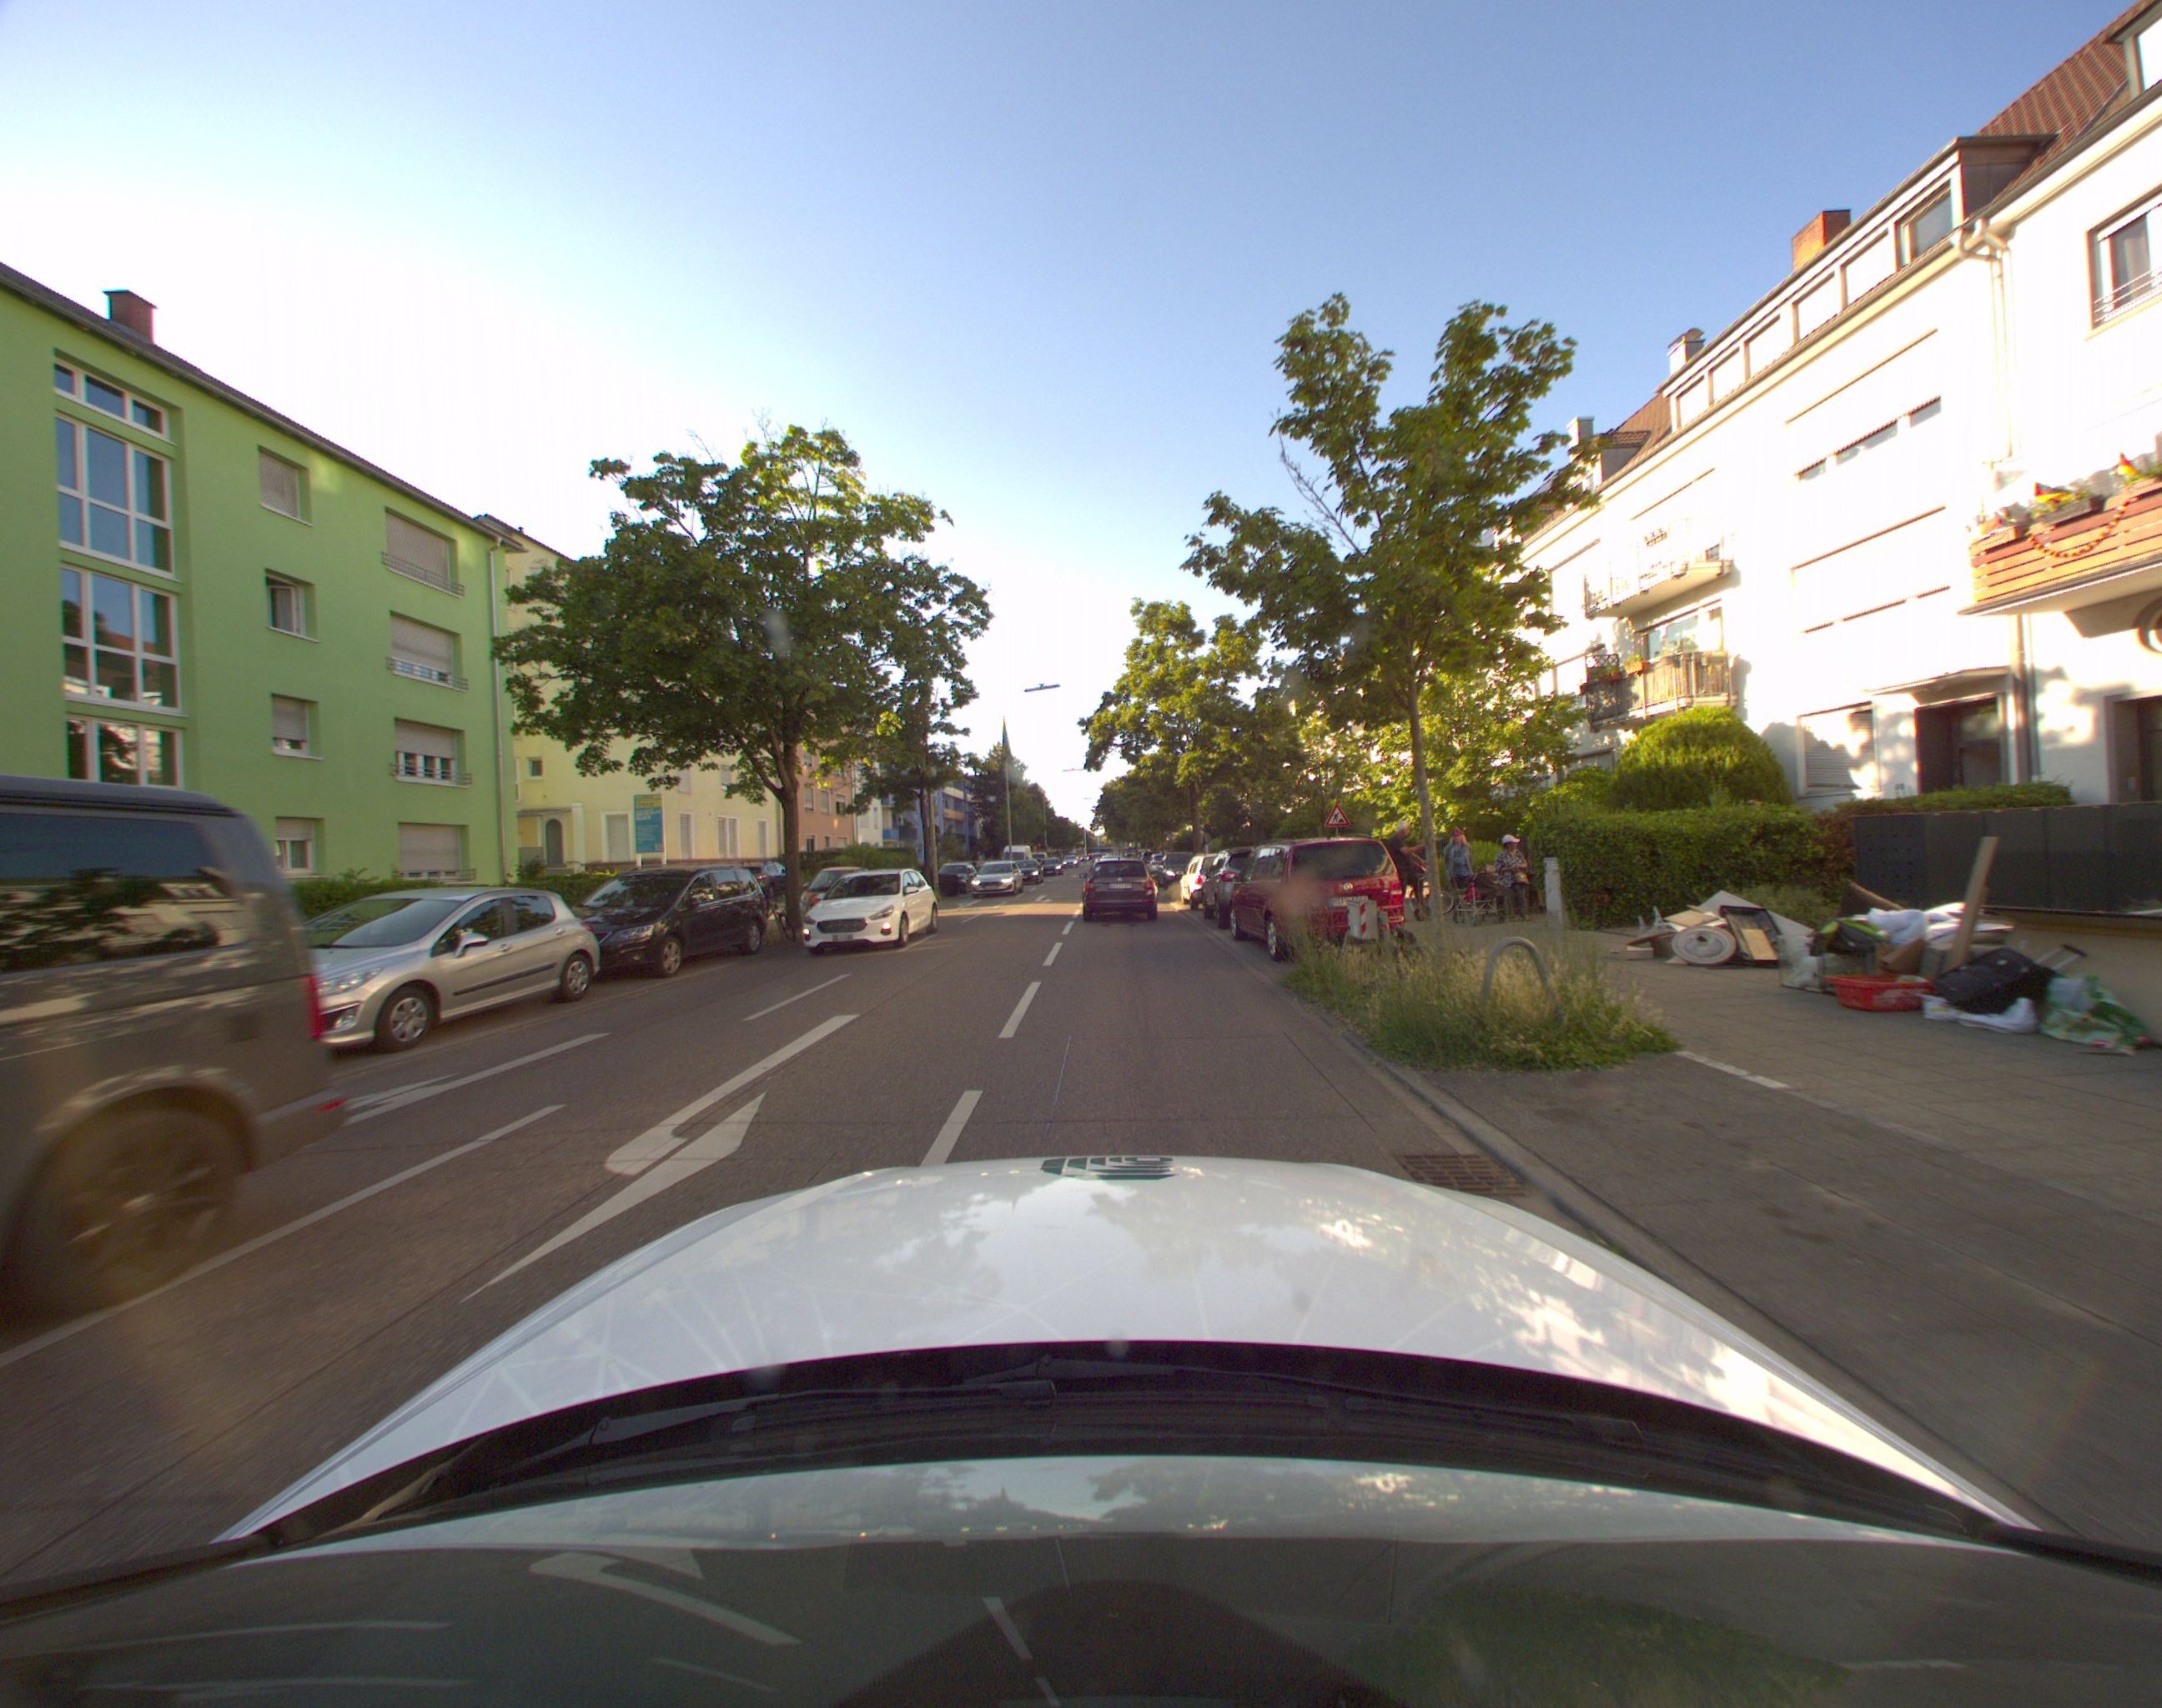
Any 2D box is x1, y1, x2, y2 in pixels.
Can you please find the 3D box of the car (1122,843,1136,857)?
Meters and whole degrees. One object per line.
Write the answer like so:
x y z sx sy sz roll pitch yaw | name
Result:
6.938 -0.544 118.525 1.908 1.860 5.638 -2 0 3 | car

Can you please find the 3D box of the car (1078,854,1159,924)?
0.948 0.762 19.856 1.747 1.492 4.004 -1 0 3 | car

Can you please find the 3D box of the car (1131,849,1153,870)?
5.217 0.474 69.980 1.747 1.662 4.256 -4 0 3 | car

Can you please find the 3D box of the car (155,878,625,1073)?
-7.229 1.122 9.232 1.677 1.521 4.191 -2 0 0 | car

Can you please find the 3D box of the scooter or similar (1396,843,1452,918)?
6.302 0.476 15.004 0.742 1.317 0.722 -2 0 8 | scooter or similar

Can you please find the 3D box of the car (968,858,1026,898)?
-3.601 0.987 35.510 1.825 1.470 4.453 -5 0 1 | car

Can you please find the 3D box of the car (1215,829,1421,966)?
3.367 0.547 12.556 1.717 1.655 4.595 -2 0 -1 | car

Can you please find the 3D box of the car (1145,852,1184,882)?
4.580 0.684 45.199 1.712 1.494 4.394 -3 0 1 | car

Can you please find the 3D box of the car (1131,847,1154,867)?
5.942 0.298 79.155 1.794 1.808 4.423 -1 0 0 | car

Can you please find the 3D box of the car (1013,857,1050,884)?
-2.862 0.936 47.704 1.694 1.403 4.029 -4 0 1 | car

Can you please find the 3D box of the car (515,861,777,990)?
-7.105 1.045 13.978 1.777 1.732 4.620 -3 0 2 | car

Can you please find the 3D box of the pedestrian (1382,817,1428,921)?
5.972 0.275 15.046 0.545 1.849 0.766 -3 0 8 | pedestrian

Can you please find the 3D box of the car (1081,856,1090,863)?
0.996 1.193 179.859 1.774 1.494 3.973 -3 0 2 | car

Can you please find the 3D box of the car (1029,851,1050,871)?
-4.493 0.717 89.108 1.862 2.031 5.302 -2 0 1 | car

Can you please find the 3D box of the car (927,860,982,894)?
-6.112 1.075 39.865 1.772 1.505 4.590 -2 0 2 | car

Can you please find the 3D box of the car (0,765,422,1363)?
-4.571 0.750 1.873 1.986 1.946 4.779 -5 0 2 | car

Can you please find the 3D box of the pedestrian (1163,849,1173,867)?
8.898 0.390 83.298 0.794 1.721 0.746 -3 0 10 | pedestrian

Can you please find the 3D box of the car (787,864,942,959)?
-4.097 1.025 16.130 1.810 1.446 4.110 -5 0 0 | car

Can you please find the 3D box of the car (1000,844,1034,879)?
-5.135 0.560 65.954 1.986 2.616 7.107 -1 0 1 | car

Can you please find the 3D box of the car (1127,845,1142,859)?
6.718 -0.228 102.142 1.747 1.686 4.256 -1 0 3 | car

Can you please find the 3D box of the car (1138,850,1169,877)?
4.635 0.559 52.633 1.712 1.601 4.097 -3 0 1 | car

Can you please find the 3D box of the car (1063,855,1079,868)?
-1.254 0.901 100.813 1.874 1.543 4.265 -3 0 -1 | car

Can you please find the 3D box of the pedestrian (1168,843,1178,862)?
9.190 -0.180 81.678 0.793 1.861 0.954 -3 0 12 | pedestrian

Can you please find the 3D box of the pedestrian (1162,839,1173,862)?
6.744 -0.256 63.161 0.784 1.700 0.809 -2 -1 6 | pedestrian

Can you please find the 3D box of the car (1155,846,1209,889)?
4.263 0.537 34.976 1.866 1.581 4.825 -4 0 3 | car

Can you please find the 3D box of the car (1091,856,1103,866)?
2.662 1.162 133.088 1.776 1.480 3.969 -1 0 -1 | car

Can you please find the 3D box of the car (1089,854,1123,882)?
1.445 0.804 47.211 1.885 1.506 3.790 1 -1 1 | car

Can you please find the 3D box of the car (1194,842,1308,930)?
3.487 0.598 17.367 1.630 1.568 4.002 -4 0 2 | car

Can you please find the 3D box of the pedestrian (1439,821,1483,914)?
7.127 0.249 15.297 0.509 1.697 0.526 -2 0 -3 | pedestrian

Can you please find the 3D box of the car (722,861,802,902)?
-14.068 1.167 36.175 1.821 1.683 4.001 -2 -1 1 | car

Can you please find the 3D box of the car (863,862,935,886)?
-11.249 1.204 50.432 3.972 1.413 1.917 0 0 2 | car

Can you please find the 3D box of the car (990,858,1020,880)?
-5.503 1.060 59.655 1.700 1.492 4.060 0 0 2 | car

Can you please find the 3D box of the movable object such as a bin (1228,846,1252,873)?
9.499 0.297 48.636 1.259 1.492 1.143 -5 0 11 | movable object such as a bin

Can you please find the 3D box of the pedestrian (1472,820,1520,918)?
7.420 0.260 14.582 0.509 1.697 0.526 -2 0 -3 | pedestrian

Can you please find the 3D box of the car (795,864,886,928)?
-6.756 1.148 23.143 1.492 1.616 2.865 -2 0 5 | car

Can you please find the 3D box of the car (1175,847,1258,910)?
3.702 0.623 22.905 1.631 1.490 4.417 -4 0 1 | car

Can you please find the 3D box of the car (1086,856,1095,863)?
2.527 1.325 213.811 1.989 1.750 3.995 -3 0 -4 | car

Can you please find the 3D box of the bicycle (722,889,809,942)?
-6.897 1.339 17.859 1.668 1.089 0.561 -1 0 3 | bicycle

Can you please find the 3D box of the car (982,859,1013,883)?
-5.589 1.128 55.015 1.606 1.473 3.814 -1 0 1 | car

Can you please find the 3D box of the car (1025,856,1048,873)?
-4.403 1.022 80.719 1.685 1.483 4.148 -2 0 4 | car

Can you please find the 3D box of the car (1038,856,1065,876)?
-2.383 0.978 66.600 1.692 1.470 4.299 -4 0 4 | car

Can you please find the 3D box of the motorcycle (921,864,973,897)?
-5.915 1.166 35.891 2.034 1.389 0.981 0 -1 -30 | motorcycle
